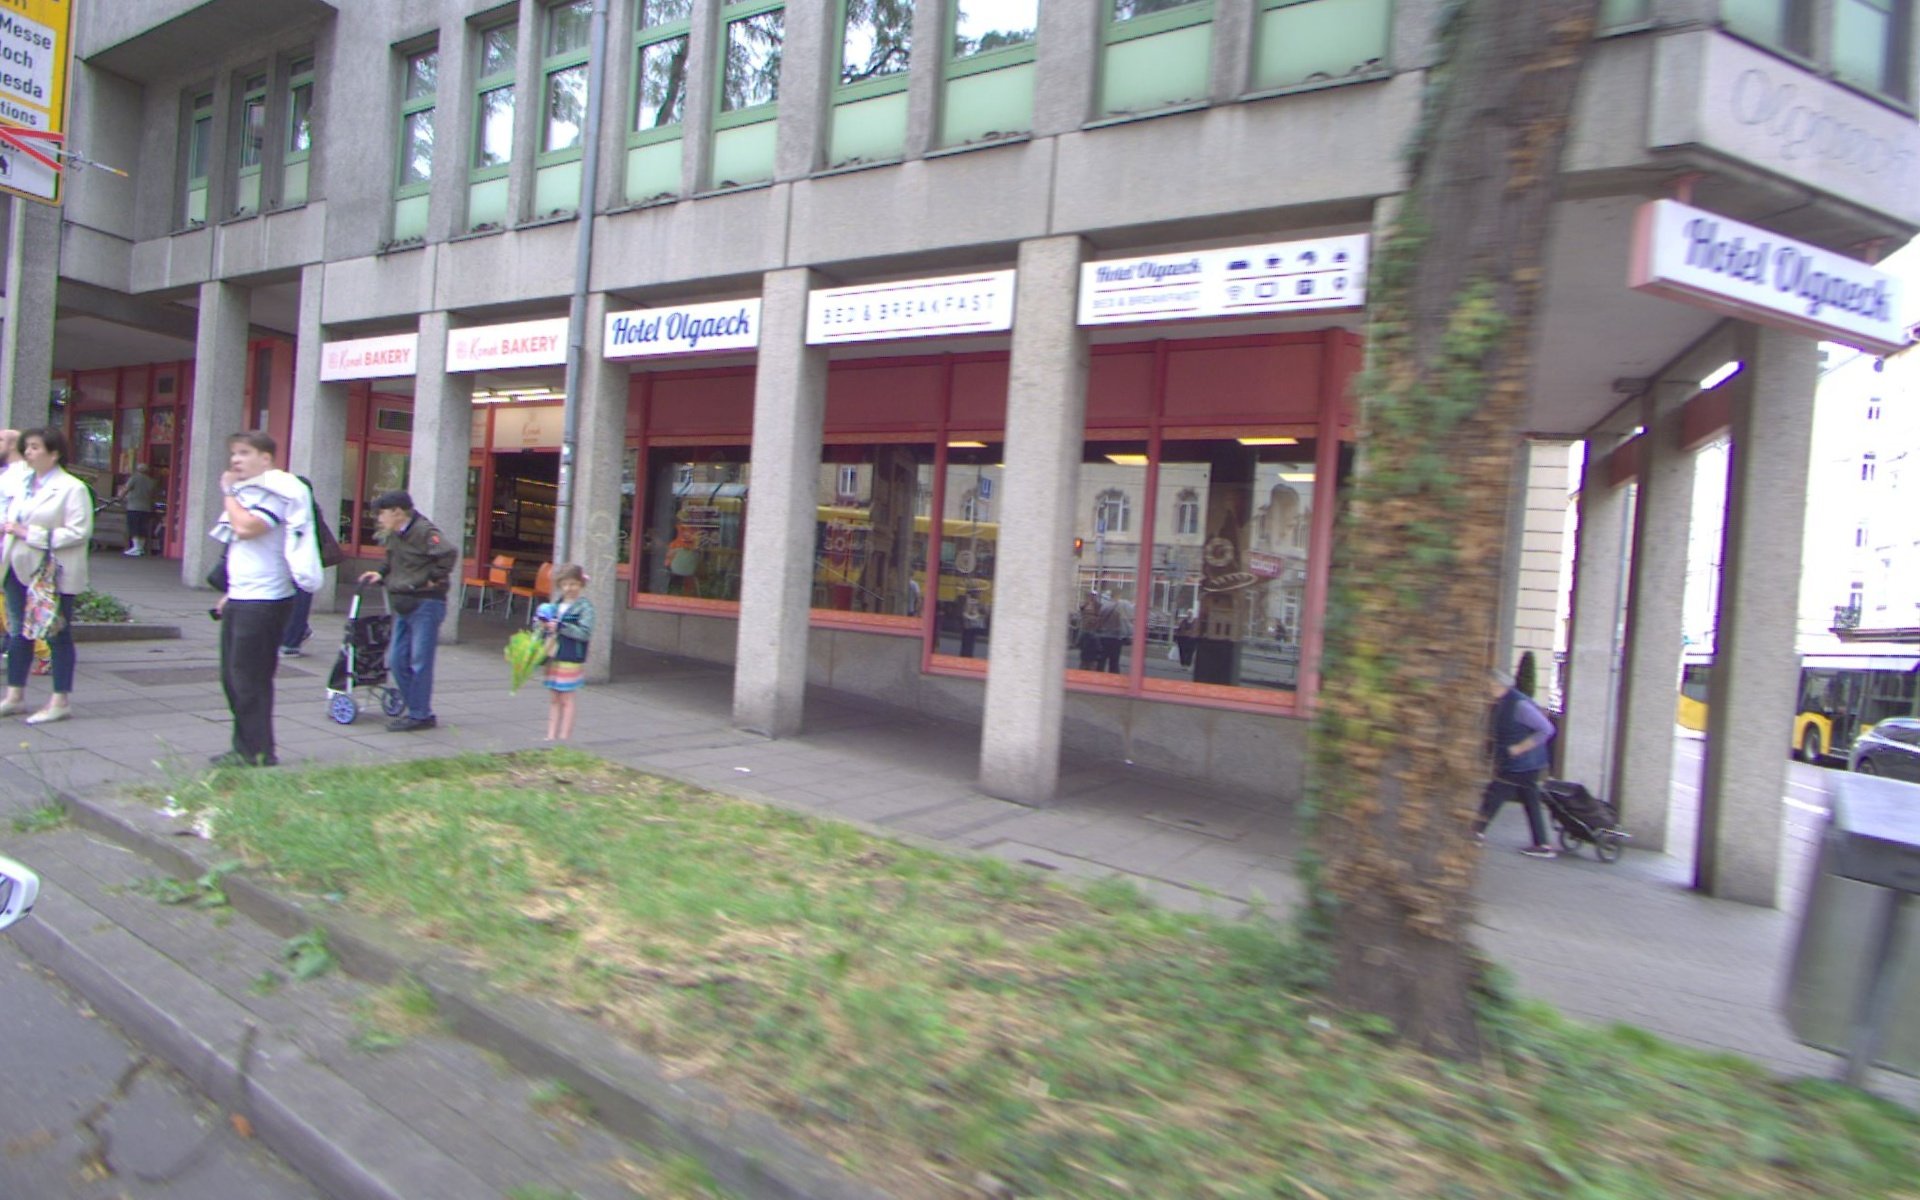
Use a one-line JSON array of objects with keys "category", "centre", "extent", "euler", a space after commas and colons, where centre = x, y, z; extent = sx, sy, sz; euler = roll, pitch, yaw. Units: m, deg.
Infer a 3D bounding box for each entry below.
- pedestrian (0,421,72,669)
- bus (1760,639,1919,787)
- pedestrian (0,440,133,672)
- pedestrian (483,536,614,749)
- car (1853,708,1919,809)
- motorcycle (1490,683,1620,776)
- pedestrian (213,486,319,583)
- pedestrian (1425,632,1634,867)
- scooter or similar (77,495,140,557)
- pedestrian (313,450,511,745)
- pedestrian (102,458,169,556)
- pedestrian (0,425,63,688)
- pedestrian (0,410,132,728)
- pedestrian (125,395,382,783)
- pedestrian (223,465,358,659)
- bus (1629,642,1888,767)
[{"category": "pedestrian", "centre": [-7.368, -0.426, 7.661], "extent": [0.751, 1.810, 0.520], "euler": [6, 0, 26]}, {"category": "bus", "centre": [21.820, 2.553, 22.009], "extent": [2.821, 3.080, 11.593], "euler": [6, -1, 19]}, {"category": "pedestrian", "centre": [-6.801, -0.309, 7.333], "extent": [0.751, 1.581, 0.838], "euler": [6, -1, 26]}, {"category": "pedestrian", "centre": [-2.780, 0.284, 6.812], "extent": [0.510, 1.349, 0.472], "euler": [6, 0, 26]}, {"category": "car", "centre": [16.273, 2.677, 15.584], "extent": [1.962, 1.507, 4.270], "euler": [6, -1, 18]}, {"category": "motorcycle", "centre": [10.655, 2.273, 18.172], "extent": [1.130, 1.313, 2.659], "euler": [6, 0, 13]}, {"category": "pedestrian", "centre": [-10.817, -1.003, 15.701], "extent": [0.743, 1.382, 1.057], "euler": [7, 3, 23]}, {"category": "pedestrian", "centre": [4.736, 1.232, 8.395], "extent": [1.112, 1.733, 0.851], "euler": [9, -1, -25]}, {"category": "scooter or similar", "centre": [-16.756, -1.451, 19.795], "extent": [0.852, 1.124, 0.755], "euler": [4, 2, -44]}, {"category": "pedestrian", "centre": [-3.737, -0.026, 6.876], "extent": [0.819, 1.828, 0.722], "euler": [9, 4, 26]}, {"category": "pedestrian", "centre": [-15.907, -1.789, 19.414], "extent": [0.666, 1.747, 0.761], "euler": [10, 5, 34]}, {"category": "pedestrian", "centre": [-6.662, -0.316, 6.635], "extent": [0.751, 1.727, 0.836], "euler": [7, 3, 26]}, {"category": "pedestrian", "centre": [-5.610, -0.205, 6.101], "extent": [0.677, 1.803, 0.693], "euler": [6, 5, 26]}, {"category": "pedestrian", "centre": [-3.758, -0.063, 5.381], "extent": [0.720, 1.897, 0.735], "euler": [6, 0, 26]}, {"category": "pedestrian", "centre": [-6.090, -0.335, 9.160], "extent": [0.751, 1.634, 0.617], "euler": [9, 4, 26]}, {"category": "bus", "centre": [25.414, 3.116, 32.951], "extent": [2.665, 3.074, 11.356], "euler": [6, -1, 19]}]
